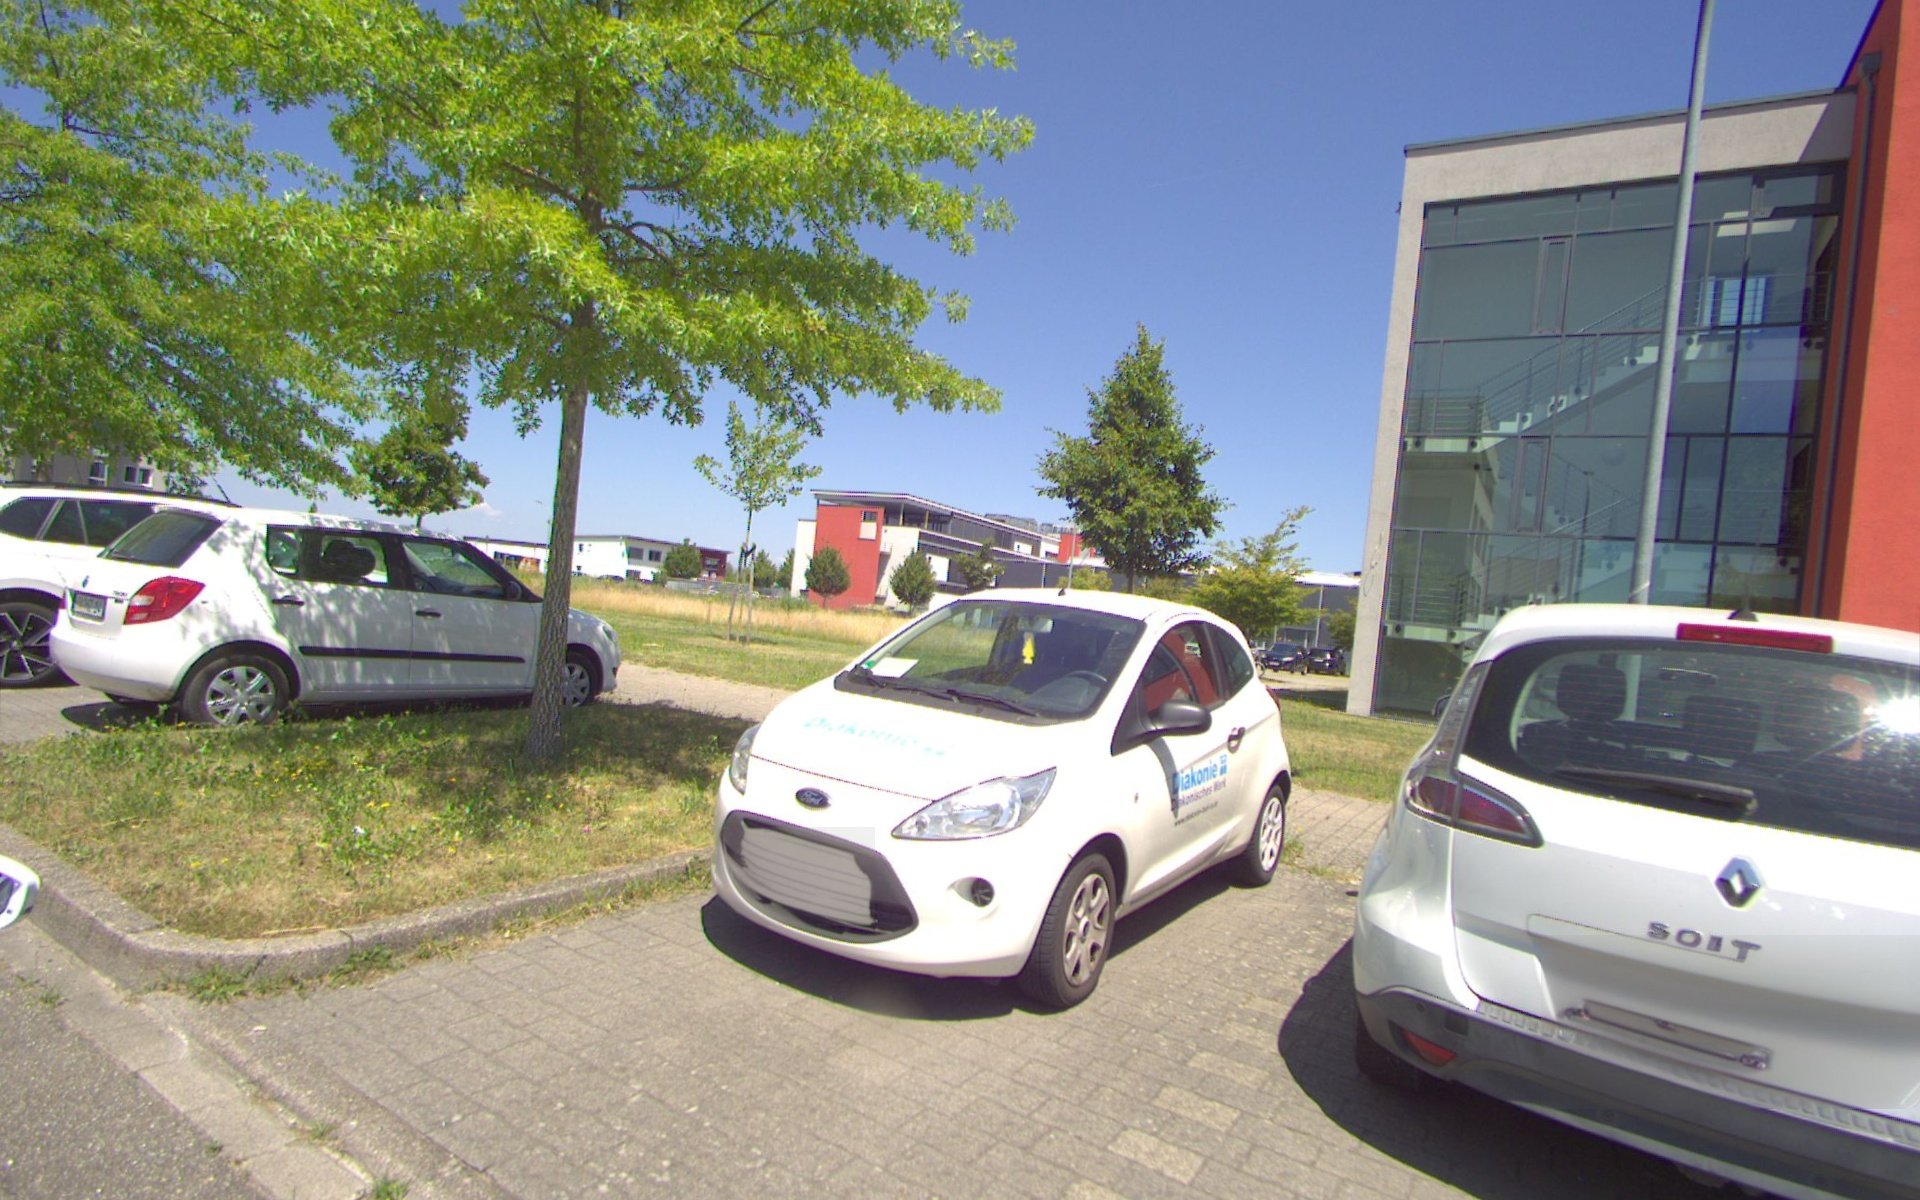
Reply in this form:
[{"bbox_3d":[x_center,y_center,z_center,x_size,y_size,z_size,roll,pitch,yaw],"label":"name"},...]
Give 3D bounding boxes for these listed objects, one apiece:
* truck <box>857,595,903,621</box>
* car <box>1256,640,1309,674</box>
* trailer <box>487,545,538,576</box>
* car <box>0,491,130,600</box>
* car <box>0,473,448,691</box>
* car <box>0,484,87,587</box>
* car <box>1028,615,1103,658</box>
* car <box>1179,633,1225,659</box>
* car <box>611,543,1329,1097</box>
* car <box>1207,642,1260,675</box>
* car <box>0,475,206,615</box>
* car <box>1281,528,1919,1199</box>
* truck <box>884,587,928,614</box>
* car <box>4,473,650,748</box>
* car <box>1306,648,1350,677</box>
[{"bbox_3d":[-7.426,0.776,93.694,1.967,2.038,4.348,6,-1,31],"label":"truck"},{"bbox_3d":[17.032,3.008,53.018,1.690,1.529,3.991,6,0,30],"label":"car"},{"bbox_3d":[-45.688,-4.055,102.772,2.195,2.632,3.992,6,0,30],"label":"trailer"},{"bbox_3d":[-14.437,-0.879,14.048,1.619,1.472,4.047,6,1,32],"label":"car"},{"bbox_3d":[-6.875,-0.133,8.777,1.752,1.573,3.832,7,1,37],"label":"car"},{"bbox_3d":[-16.595,-1.157,15.217,1.880,1.581,4.721,6,1,28],"label":"car"},{"bbox_3d":[4.387,1.514,41.564,1.691,1.529,3.325,6,0,32],"label":"car"},{"bbox_3d":[16.159,3.094,67.004,1.691,1.470,3.990,6,0,32],"label":"car"},{"bbox_3d":[0.412,0.675,4.787,1.585,1.482,3.617,7,2,34],"label":"car"},{"bbox_3d":[14.906,3.187,54.735,1.690,1.529,3.991,6,0,30],"label":"car"},{"bbox_3d":[-12.309,-0.765,12.730,1.665,1.646,4.047,6,1,32],"label":"car"},{"bbox_3d":[2.819,0.838,3.987,1.745,1.671,4.111,7,1,34],"label":"car"},{"bbox_3d":[-4.905,0.049,92.290,1.967,2.039,3.991,6,0,31],"label":"truck"},{"bbox_3d":[-4.592,0.104,7.882,1.750,1.543,3.837,6,0,32],"label":"car"},{"bbox_3d":[22.857,3.880,62.409,1.691,1.529,3.990,6,0,32],"label":"car"}]
